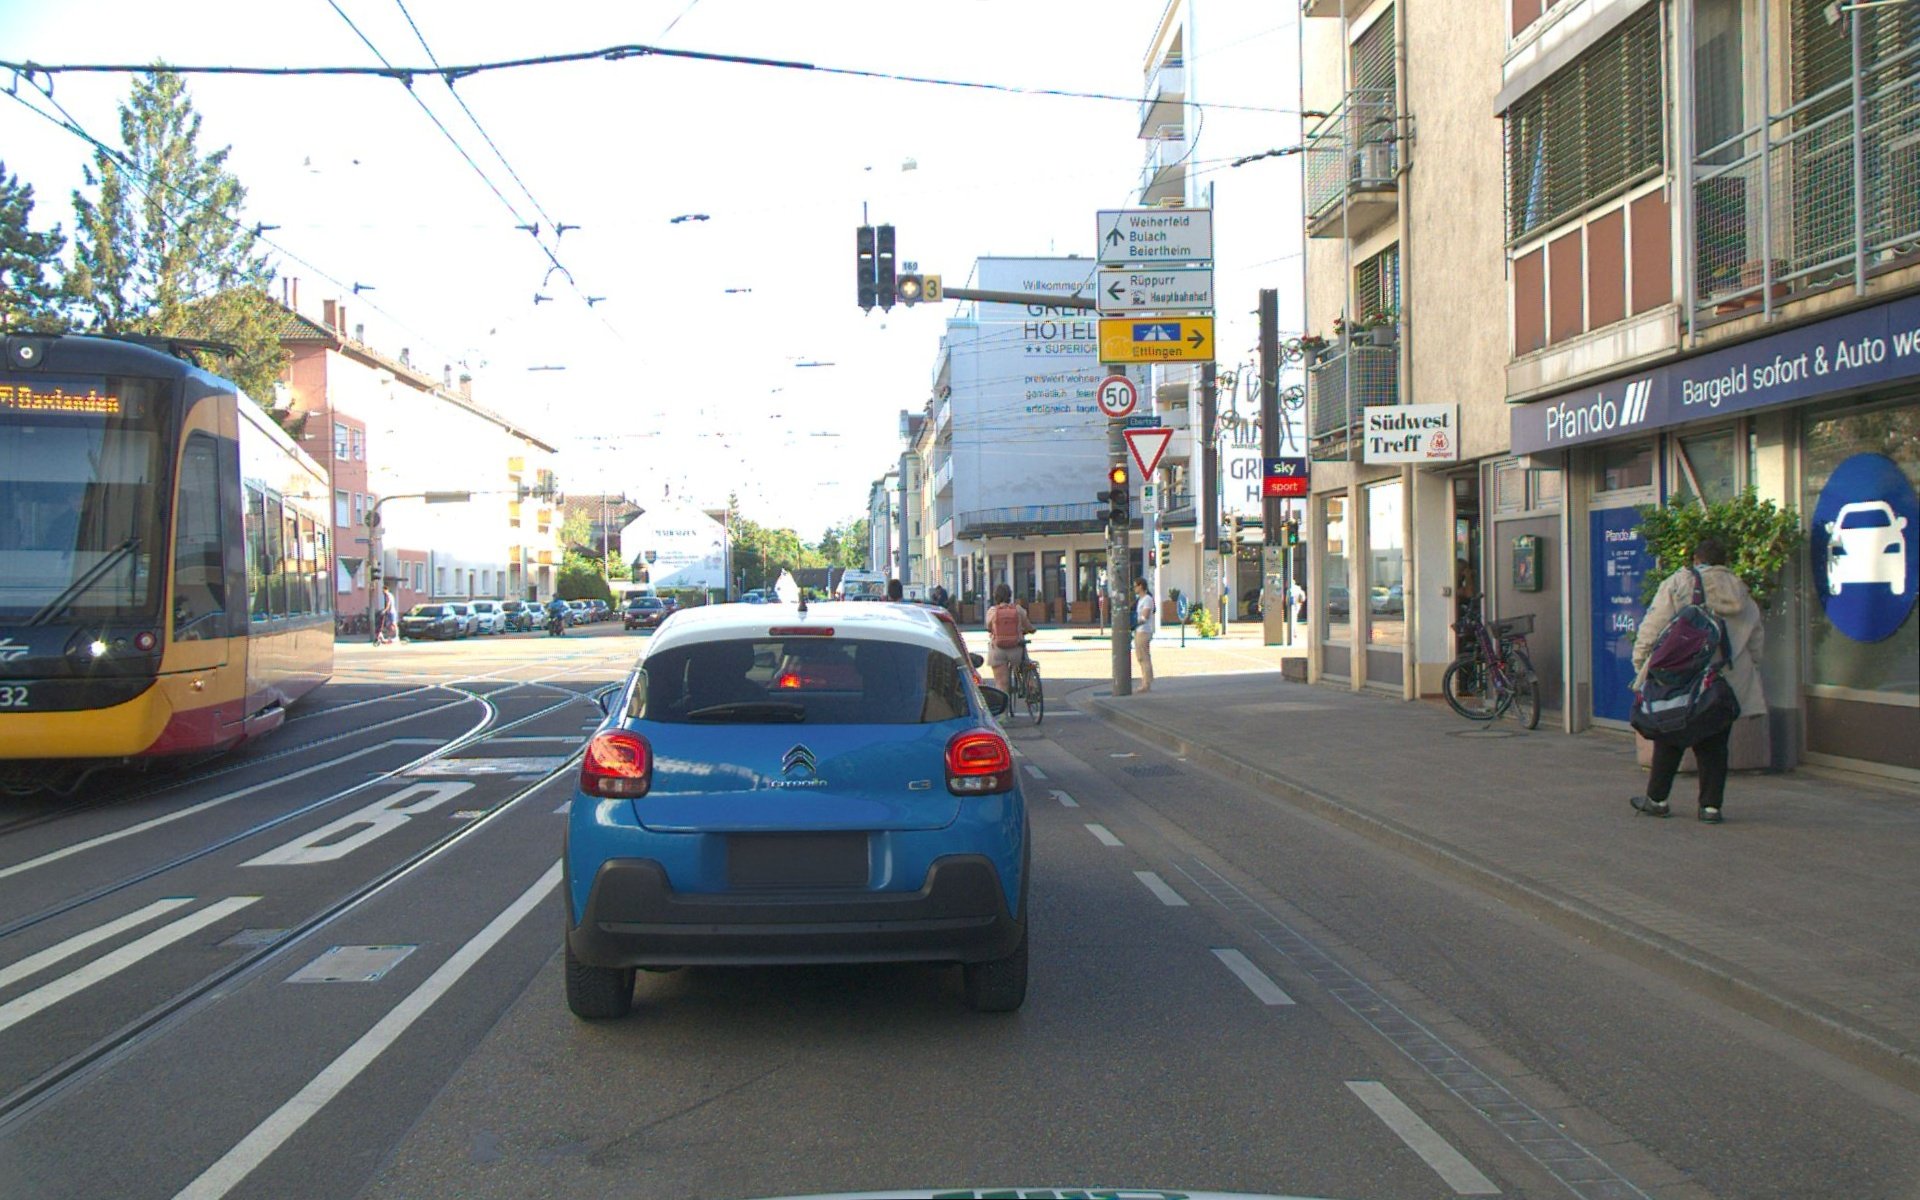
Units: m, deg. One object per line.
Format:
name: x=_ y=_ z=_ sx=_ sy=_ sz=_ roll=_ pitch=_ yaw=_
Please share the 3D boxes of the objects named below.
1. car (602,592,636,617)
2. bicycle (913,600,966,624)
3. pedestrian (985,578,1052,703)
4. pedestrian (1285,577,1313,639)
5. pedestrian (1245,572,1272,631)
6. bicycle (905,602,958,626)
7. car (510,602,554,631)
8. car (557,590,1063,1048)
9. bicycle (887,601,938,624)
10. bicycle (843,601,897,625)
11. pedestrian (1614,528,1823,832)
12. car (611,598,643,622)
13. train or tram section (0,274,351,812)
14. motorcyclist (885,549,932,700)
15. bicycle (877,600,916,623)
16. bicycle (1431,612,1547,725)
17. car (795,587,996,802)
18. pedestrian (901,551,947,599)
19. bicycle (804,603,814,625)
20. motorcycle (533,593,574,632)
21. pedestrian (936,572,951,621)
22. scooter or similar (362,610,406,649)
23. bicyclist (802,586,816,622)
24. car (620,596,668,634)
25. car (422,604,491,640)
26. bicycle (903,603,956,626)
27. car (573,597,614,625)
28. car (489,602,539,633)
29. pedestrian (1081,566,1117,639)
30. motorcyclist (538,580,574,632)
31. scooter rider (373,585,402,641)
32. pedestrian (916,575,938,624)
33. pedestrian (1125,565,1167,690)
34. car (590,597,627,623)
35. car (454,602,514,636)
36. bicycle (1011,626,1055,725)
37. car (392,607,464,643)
car: x=-23.938 y=0.335 z=116.221 sx=1.797 sy=1.716 sz=3.997 roll=1 pitch=0 yaw=-4
bicycle: x=-0.822 y=0.487 z=65.853 sx=2.093 sy=0.917 sz=0.366 roll=1 pitch=-1 yaw=-10
pedestrian: x=0.712 y=0.487 z=20.256 sx=0.761 sy=1.486 sz=0.681 roll=1 pitch=-1 yaw=-1
pedestrian: x=9.454 y=0.228 z=46.109 sx=0.736 sy=1.686 sz=0.884 roll=1 pitch=-1 yaw=13
pedestrian: x=8.400 y=0.044 z=46.510 sx=0.720 sy=1.629 sz=0.749 roll=1 pitch=-1 yaw=12
bicycle: x=-1.165 y=0.574 z=67.073 sx=2.093 sy=0.917 sz=0.366 roll=1 pitch=-1 yaw=-10
car: x=-23.724 y=0.915 z=91.734 sx=1.699 sy=1.524 sz=3.996 roll=1 pitch=0 yaw=-5
car: x=-0.511 y=0.723 z=7.155 sx=1.620 sy=1.469 sz=3.522 roll=1 pitch=0 yaw=-1
bicycle: x=-1.960 y=0.503 z=68.273 sx=2.093 sy=0.917 sz=0.366 roll=1 pitch=-1 yaw=-10
bicycle: x=-3.600 y=0.528 z=66.158 sx=2.093 sy=0.917 sz=0.366 roll=1 pitch=-1 yaw=-10
pedestrian: x=4.227 y=0.432 z=9.266 sx=0.808 sy=1.620 sz=0.751 roll=1 pitch=-1 yaw=-1
car: x=-24.327 y=0.706 z=120.937 sx=1.809 sy=1.716 sz=3.871 roll=1 pitch=0 yaw=-4
train or tram section: x=-8.290 y=-0.359 z=17.288 sx=3.014 sy=3.656 sz=12.566 roll=-1 pitch=0 yaw=-18
motorcyclist: x=-0.607 y=0.292 z=19.592 sx=0.516 sy=1.746 sz=0.717 roll=1 pitch=-1 yaw=-1
bicycle: x=-2.668 y=0.483 z=69.325 sx=1.751 sy=0.917 sz=0.365 roll=1 pitch=-1 yaw=34
bicycle: x=5.048 y=0.630 z=15.881 sx=0.531 sy=1.016 sz=1.705 roll=1 pitch=0 yaw=-1
car: x=-0.475 y=0.679 z=13.173 sx=1.395 sy=1.493 sz=2.923 roll=-1 pitch=0 yaw=-1
pedestrian: x=-1.599 y=-1.082 z=73.510 sx=1.953 sy=2.049 sz=3.999 roll=1 pitch=0 yaw=-1
bicycle: x=-6.400 y=0.598 z=70.106 sx=0.342 sy=0.919 sz=1.856 roll=1 pitch=0 yaw=-8
motorcycle: x=-16.284 y=0.483 z=66.382 sx=0.905 sy=1.512 sz=3.723 roll=1 pitch=0 yaw=-4
pedestrian: x=-0.710 y=-0.160 z=70.321 sx=0.565 sy=2.049 sz=0.625 roll=1 pitch=-1 yaw=-3
scooter or similar: x=-19.309 y=0.984 z=55.480 sx=1.343 sy=1.291 sz=0.436 roll=1 pitch=-2 yaw=-43
bicyclist: x=-6.413 y=0.177 z=70.141 sx=0.550 sy=1.503 sz=0.747 roll=1 pitch=-1 yaw=-7
car: x=-14.534 y=0.687 z=76.196 sx=1.740 sy=1.695 sz=3.853 roll=1 pitch=0 yaw=-4
car: x=-22.234 y=0.953 z=73.232 sx=1.778 sy=1.524 sz=4.299 roll=1 pitch=0 yaw=-1
bicycle: x=-1.242 y=0.594 z=67.488 sx=2.093 sy=0.917 sz=0.366 roll=1 pitch=-1 yaw=-10
car: x=-23.360 y=0.694 z=105.556 sx=1.944 sy=1.716 sz=3.997 roll=1 pitch=0 yaw=-4
car: x=-23.090 y=0.878 z=85.706 sx=1.750 sy=1.524 sz=3.997 roll=1 pitch=0 yaw=-4
pedestrian: x=3.947 y=0.071 z=47.008 sx=0.907 sy=2.049 sz=0.759 roll=1 pitch=-1 yaw=-1
motorcyclist: x=-16.321 y=0.227 z=66.822 sx=1.162 sy=2.049 sz=1.274 roll=-1 pitch=0 yaw=-4
scooter rider: x=-19.235 y=0.430 z=55.588 sx=0.718 sy=1.865 sz=0.706 roll=1 pitch=-2 yaw=-43
pedestrian: x=-1.388 y=-0.020 z=69.188 sx=0.625 sy=2.049 sz=0.715 roll=1 pitch=-1 yaw=-37
pedestrian: x=2.739 y=0.397 z=24.357 sx=0.507 sy=1.814 sz=0.595 roll=1 pitch=-1 yaw=-3
car: x=-23.554 y=0.677 z=110.892 sx=1.845 sy=1.716 sz=3.997 roll=1 pitch=0 yaw=-4
car: x=-22.662 y=0.880 z=78.835 sx=1.751 sy=1.537 sz=4.148 roll=1 pitch=0 yaw=-2
bicycle: x=0.893 y=0.909 z=20.584 sx=0.419 sy=1.142 sz=1.998 roll=1 pitch=0 yaw=-1
car: x=-21.987 y=1.008 z=68.464 sx=1.757 sy=1.446 sz=3.994 roll=1 pitch=0 yaw=-2
